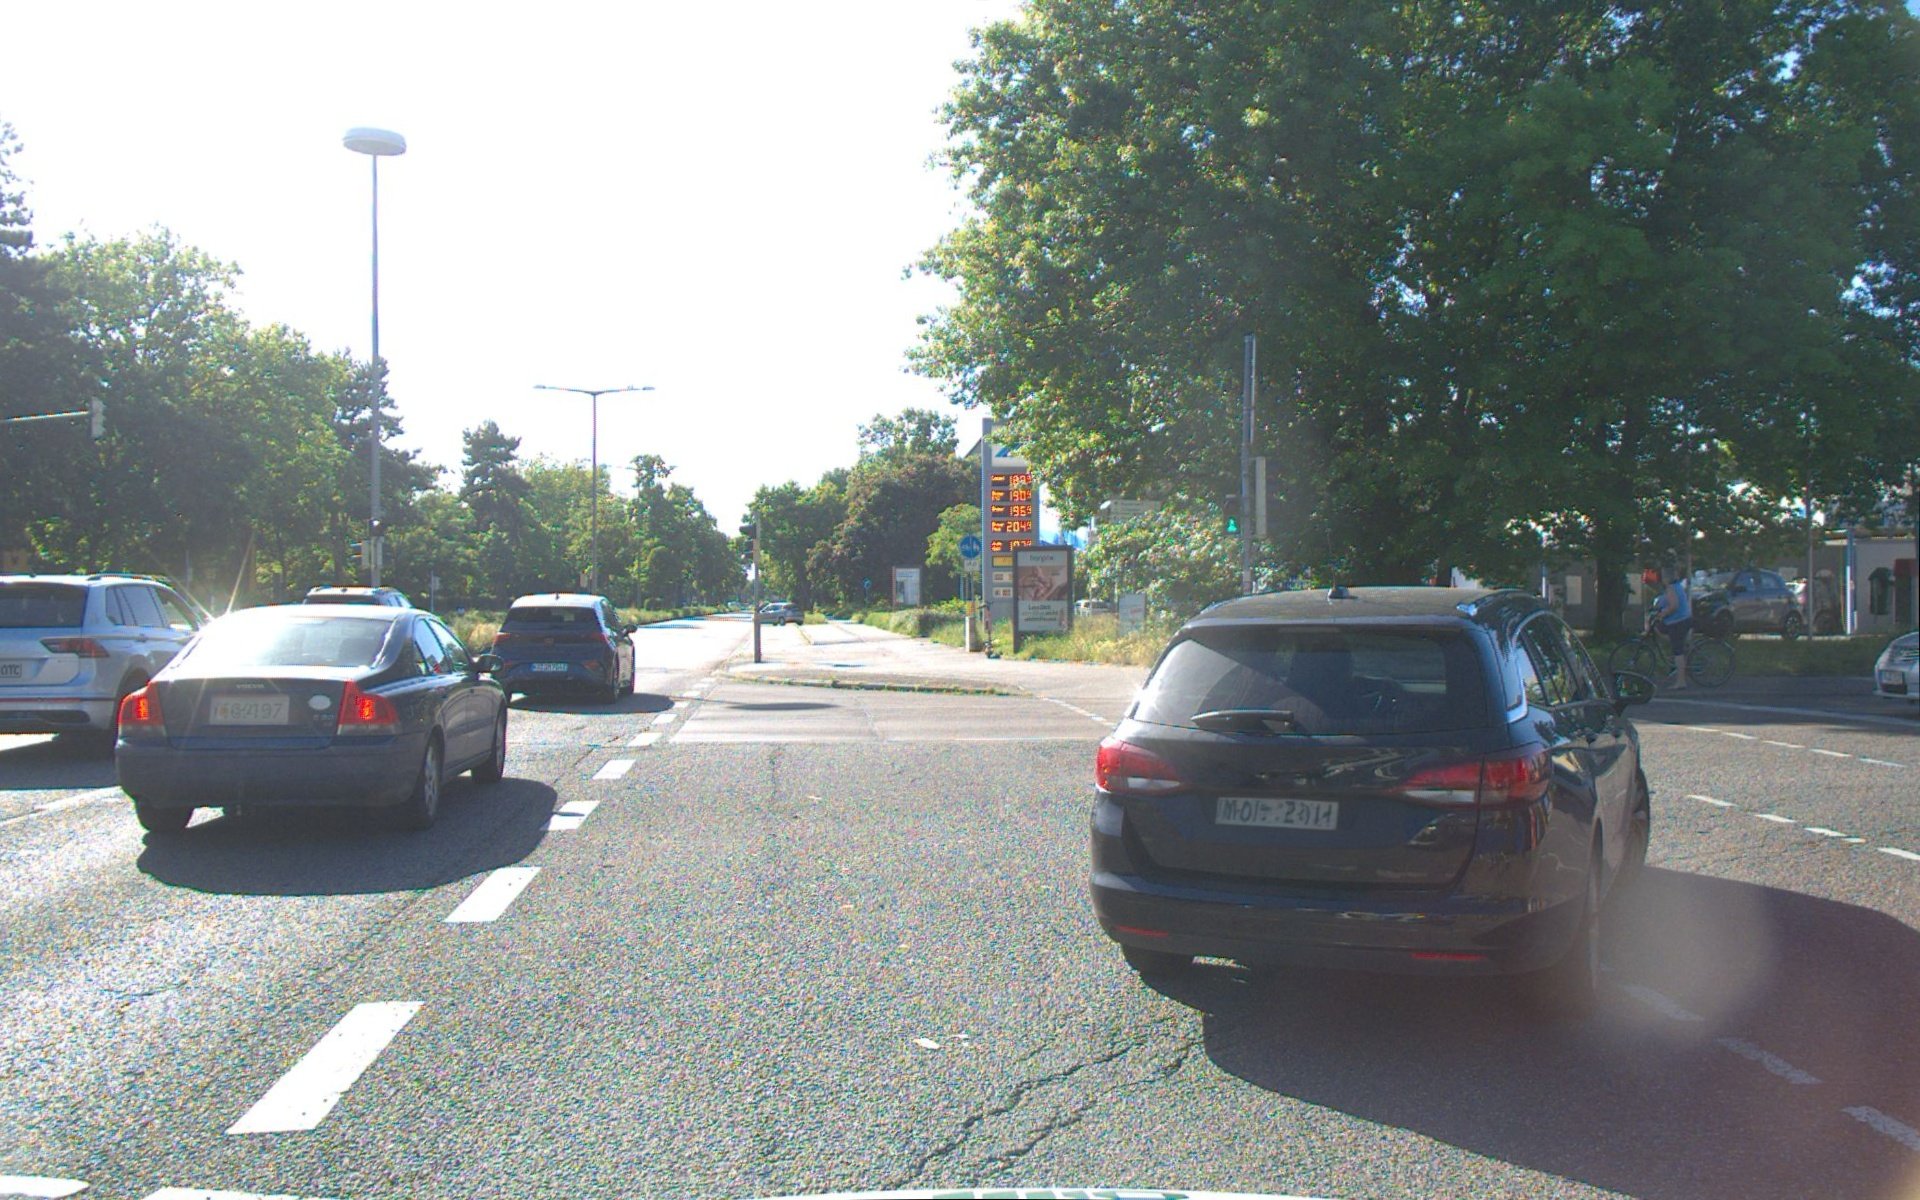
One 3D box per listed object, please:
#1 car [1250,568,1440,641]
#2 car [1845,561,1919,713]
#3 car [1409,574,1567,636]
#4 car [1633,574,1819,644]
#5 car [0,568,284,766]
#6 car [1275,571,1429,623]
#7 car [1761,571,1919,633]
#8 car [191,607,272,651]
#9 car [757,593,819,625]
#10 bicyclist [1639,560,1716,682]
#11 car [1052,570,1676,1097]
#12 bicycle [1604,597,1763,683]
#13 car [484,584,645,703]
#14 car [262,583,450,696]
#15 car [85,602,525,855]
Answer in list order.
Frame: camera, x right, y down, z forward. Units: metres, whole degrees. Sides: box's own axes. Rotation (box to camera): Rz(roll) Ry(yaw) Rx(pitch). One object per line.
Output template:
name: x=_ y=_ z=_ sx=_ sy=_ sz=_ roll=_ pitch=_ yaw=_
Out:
car: x=12.231 y=0.143 z=52.698 sx=5.528 sy=2.136 sz=1.997 roll=2 pitch=-1 yaw=-7
car: x=12.019 y=0.351 z=17.018 sx=4.770 sy=1.515 sz=1.844 roll=-1 pitch=-1 yaw=6
car: x=14.304 y=0.141 z=44.827 sx=3.922 sy=1.538 sz=1.525 roll=2 pitch=-1 yaw=-16
car: x=16.711 y=0.216 z=36.040 sx=3.945 sy=1.400 sz=1.742 roll=2 pitch=-1 yaw=-30
car: x=-8.455 y=0.579 z=16.347 sx=1.904 sy=1.682 sz=4.362 roll=1 pitch=-1 yaw=-3
car: x=11.208 y=-0.078 z=47.336 sx=3.924 sy=1.358 sz=1.790 roll=2 pitch=-1 yaw=-18
car: x=25.307 y=0.081 z=47.266 sx=3.912 sy=1.635 sz=1.997 roll=2 pitch=-1 yaw=-8
car: x=-25.367 y=0.994 z=57.711 sx=1.518 sy=1.457 sz=3.593 roll=0 pitch=0 yaw=-5
car: x=-11.421 y=0.601 z=109.416 sx=3.931 sy=2.049 sz=1.987 roll=1 pitch=-1 yaw=44
bicyclist: x=10.014 y=0.296 z=23.090 sx=0.810 sy=1.670 sz=0.542 roll=-1 pitch=0 yaw=0
car: x=2.019 y=0.635 z=7.074 sx=1.727 sy=1.517 sz=4.287 roll=0 pitch=1 yaw=26
bicycle: x=10.085 y=0.552 z=23.076 sx=1.978 sy=1.161 sz=0.529 roll=-1 pitch=0 yaw=0
car: x=-5.822 y=0.616 z=24.814 sx=1.801 sy=1.616 sz=4.358 roll=0 pitch=-1 yaw=-6
car: x=-9.841 y=0.618 z=27.302 sx=1.874 sy=1.682 sz=4.358 roll=2 pitch=-1 yaw=-6
car: x=-4.311 y=0.763 z=11.659 sx=1.802 sy=1.419 sz=4.357 roll=2 pitch=-1 yaw=-7
